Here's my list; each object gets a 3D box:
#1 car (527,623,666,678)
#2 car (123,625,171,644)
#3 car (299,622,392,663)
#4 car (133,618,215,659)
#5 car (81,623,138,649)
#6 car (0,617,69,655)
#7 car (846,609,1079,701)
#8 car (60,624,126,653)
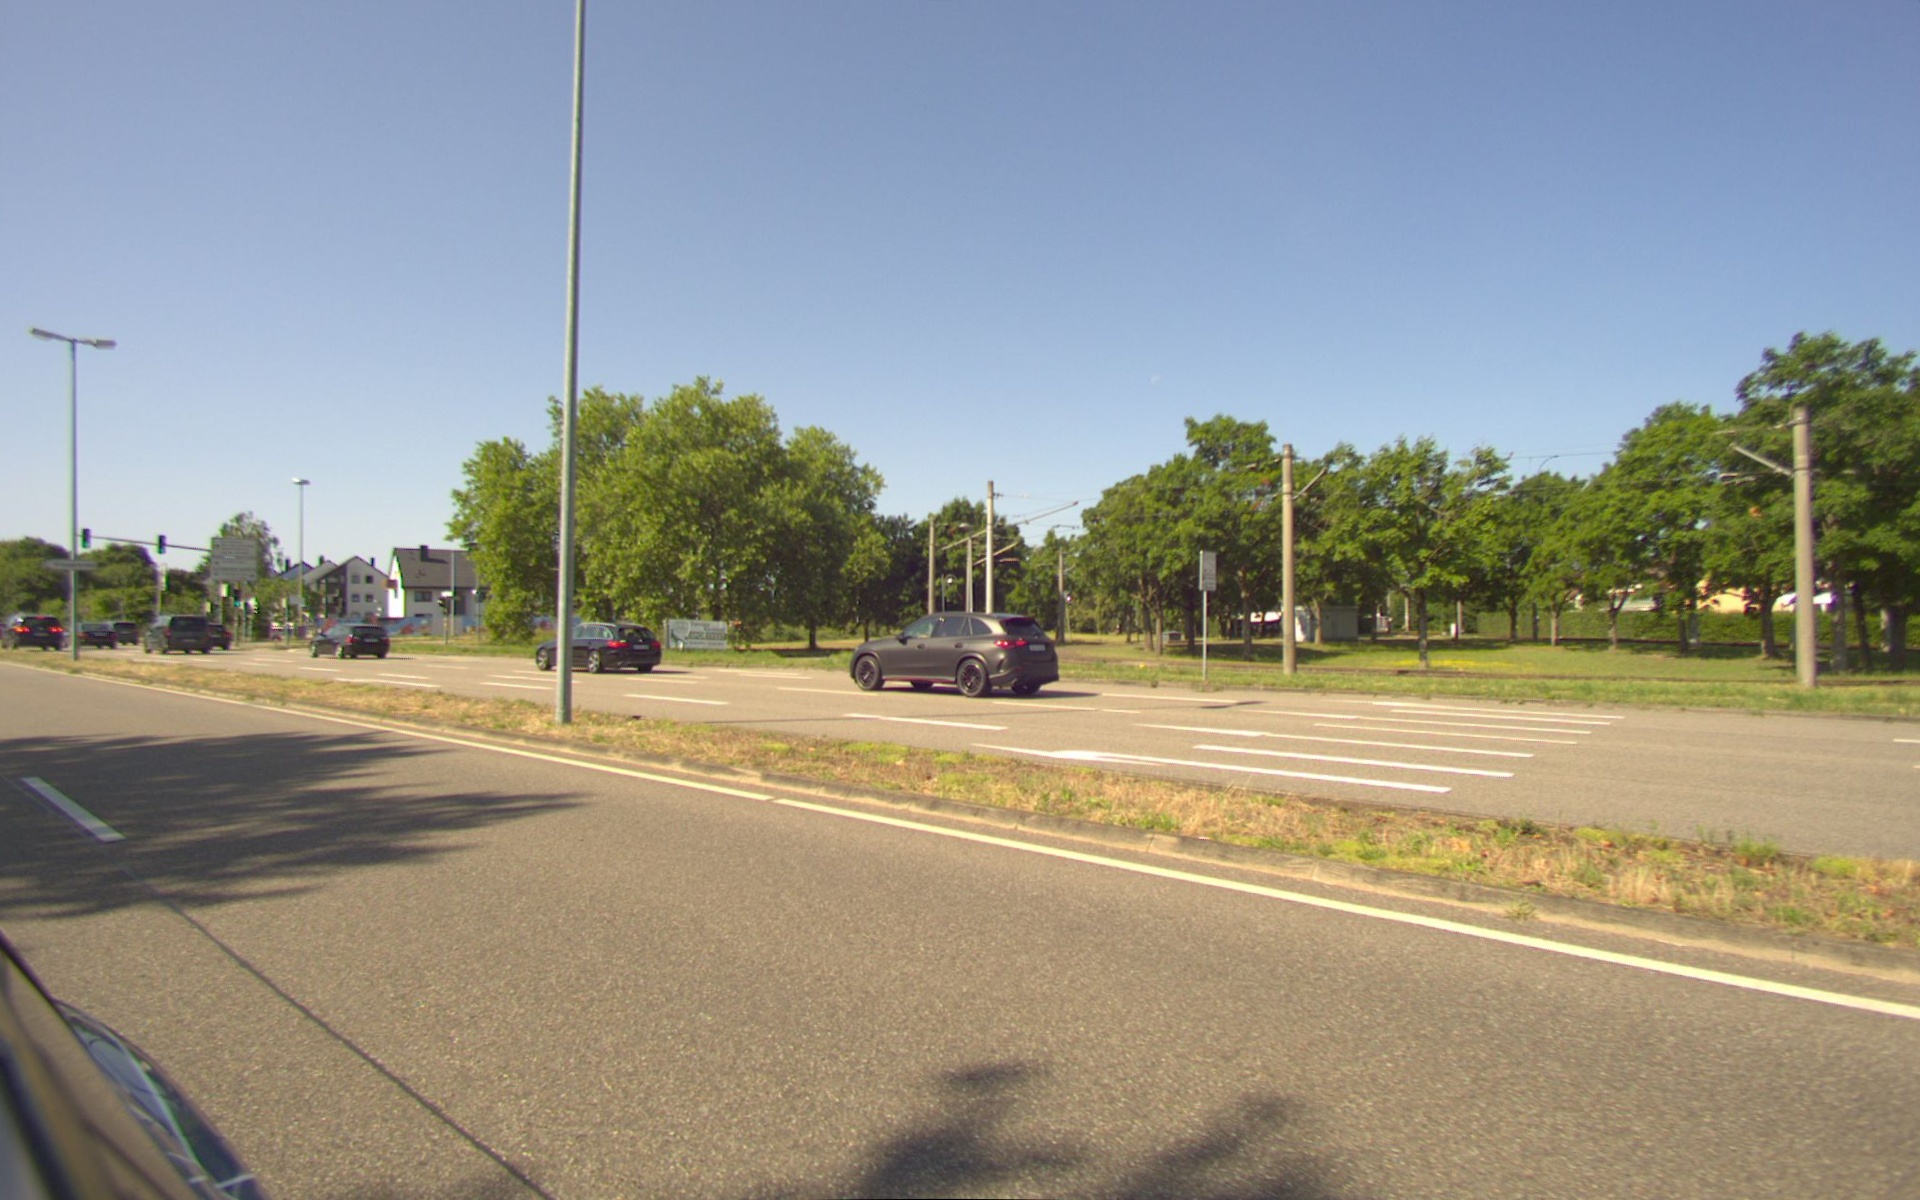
[{"bbox_3d":[-10.685,1.433,29.606,4.465,1.476,1.812,-1,-2,40],"label":"car"},{"bbox_3d":[-67.160,2.846,83.586,4.679,1.540,2.051,-1,-2,38],"label":"car"},{"bbox_3d":[-25.014,1.699,41.162,4.401,1.557,1.844,-1,-3,39],"label":"car"},{"bbox_3d":[-35.897,1.721,46.195,4.484,1.793,1.962,-1,-2,39],"label":"car"},{"bbox_3d":[-56.505,2.384,67.199,4.484,1.635,2.051,-1,-3,39],"label":"car"},{"bbox_3d":[-44.827,1.747,48.850,4.503,1.764,1.961,-1,-3,39],"label":"car"},{"bbox_3d":[-0.026,1.043,20.520,4.551,1.672,1.962,-1,-2,40],"label":"car"},{"bbox_3d":[-46.975,2.082,54.788,4.446,1.468,1.961,-1,-4,40],"label":"car"}]
